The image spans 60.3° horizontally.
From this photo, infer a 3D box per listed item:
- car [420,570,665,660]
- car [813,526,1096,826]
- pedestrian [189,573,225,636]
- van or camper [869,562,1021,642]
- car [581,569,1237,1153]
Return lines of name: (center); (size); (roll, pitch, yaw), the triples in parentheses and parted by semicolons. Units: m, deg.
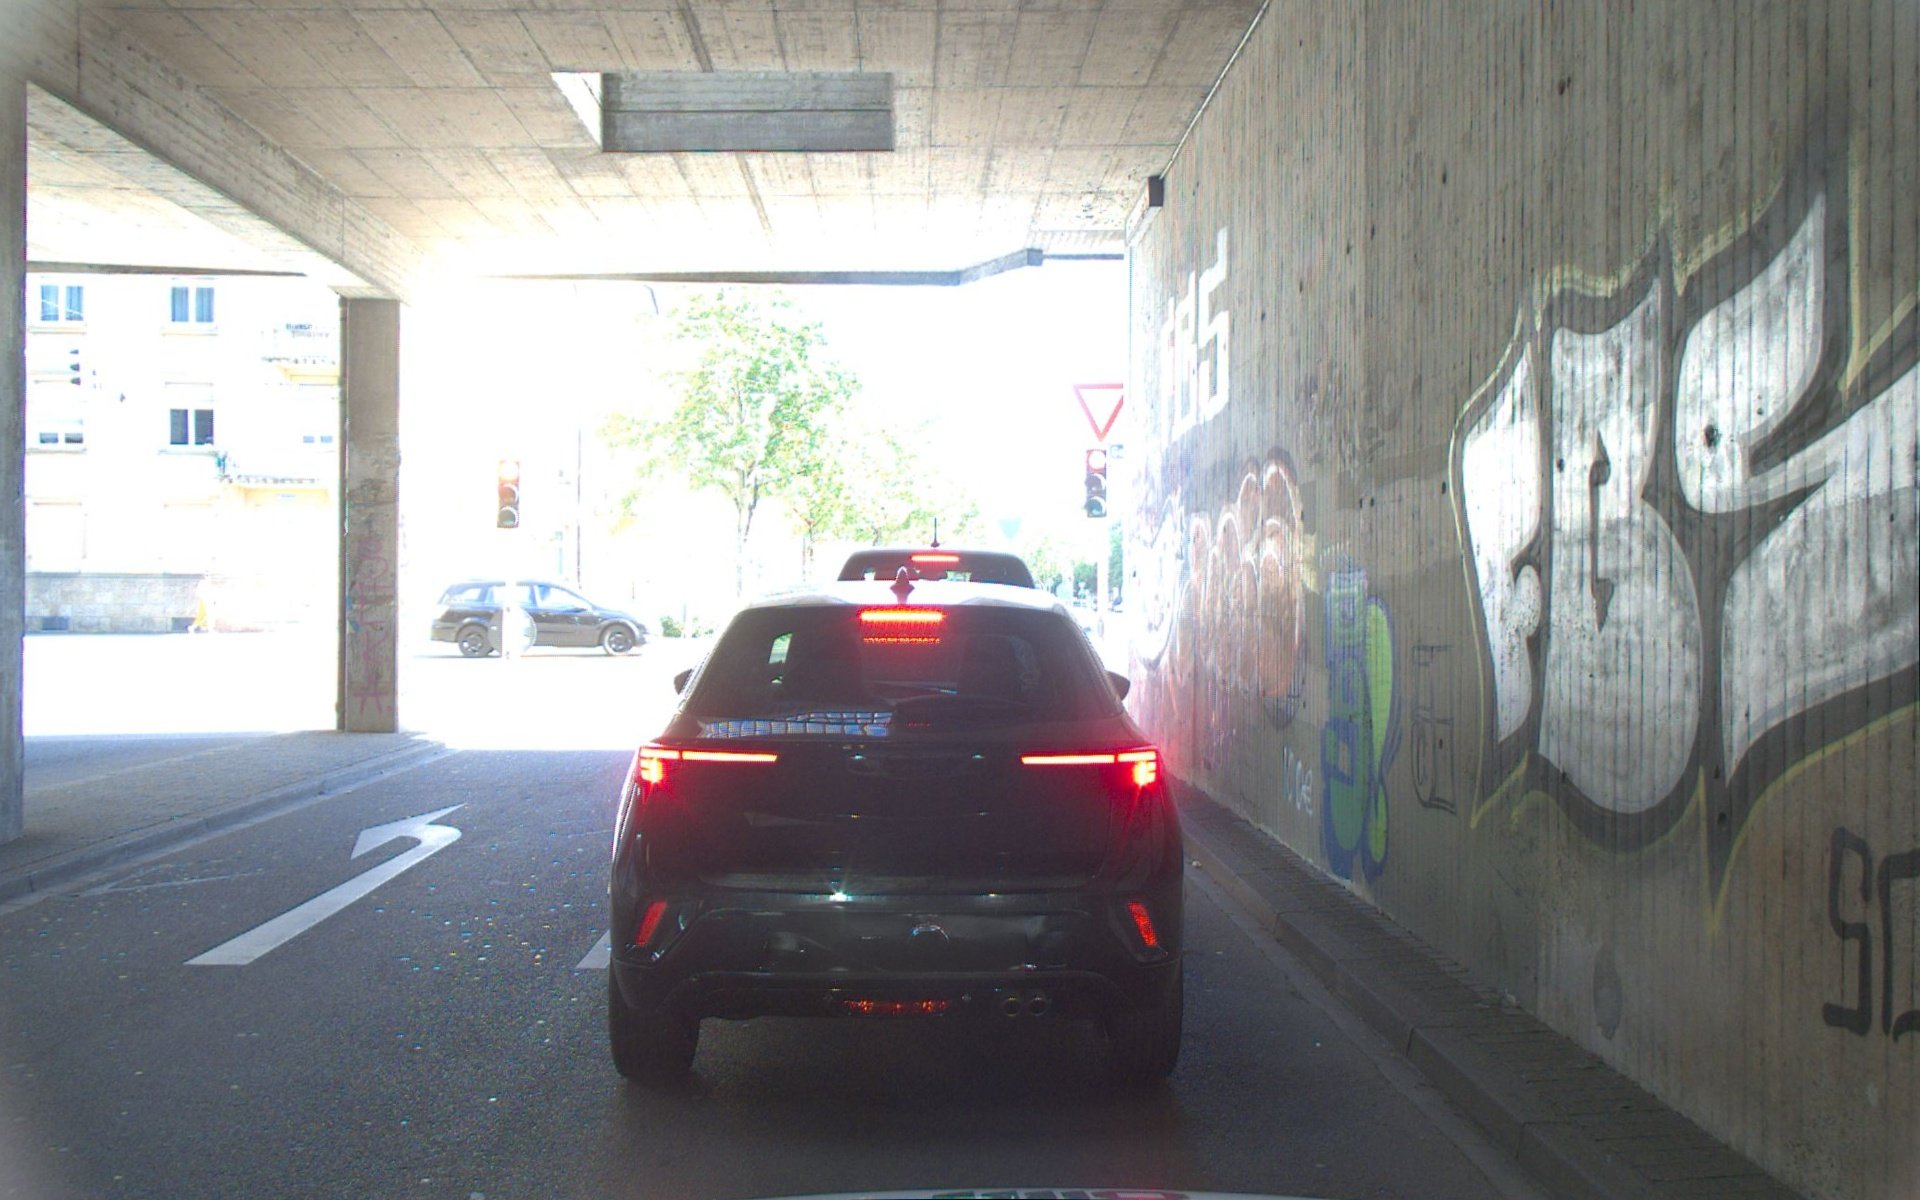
car: (-8.049, 0.247, 32.304); (4.495, 1.670, 1.995); (0, 1, -11)
car: (-0.056, 0.467, 12.380); (1.749, 1.865, 3.960); (1, 0, -1)
pedestrian: (-21.003, 0.125, 46.161); (0.707, 1.734, 0.624); (1, -1, -7)
van or camper: (-0.363, 0.049, 43.844); (3.795, 2.049, 2.002); (0, 0, 7)
car: (-0.150, 0.684, 6.400); (1.718, 1.525, 4.000); (1, 0, -1)
